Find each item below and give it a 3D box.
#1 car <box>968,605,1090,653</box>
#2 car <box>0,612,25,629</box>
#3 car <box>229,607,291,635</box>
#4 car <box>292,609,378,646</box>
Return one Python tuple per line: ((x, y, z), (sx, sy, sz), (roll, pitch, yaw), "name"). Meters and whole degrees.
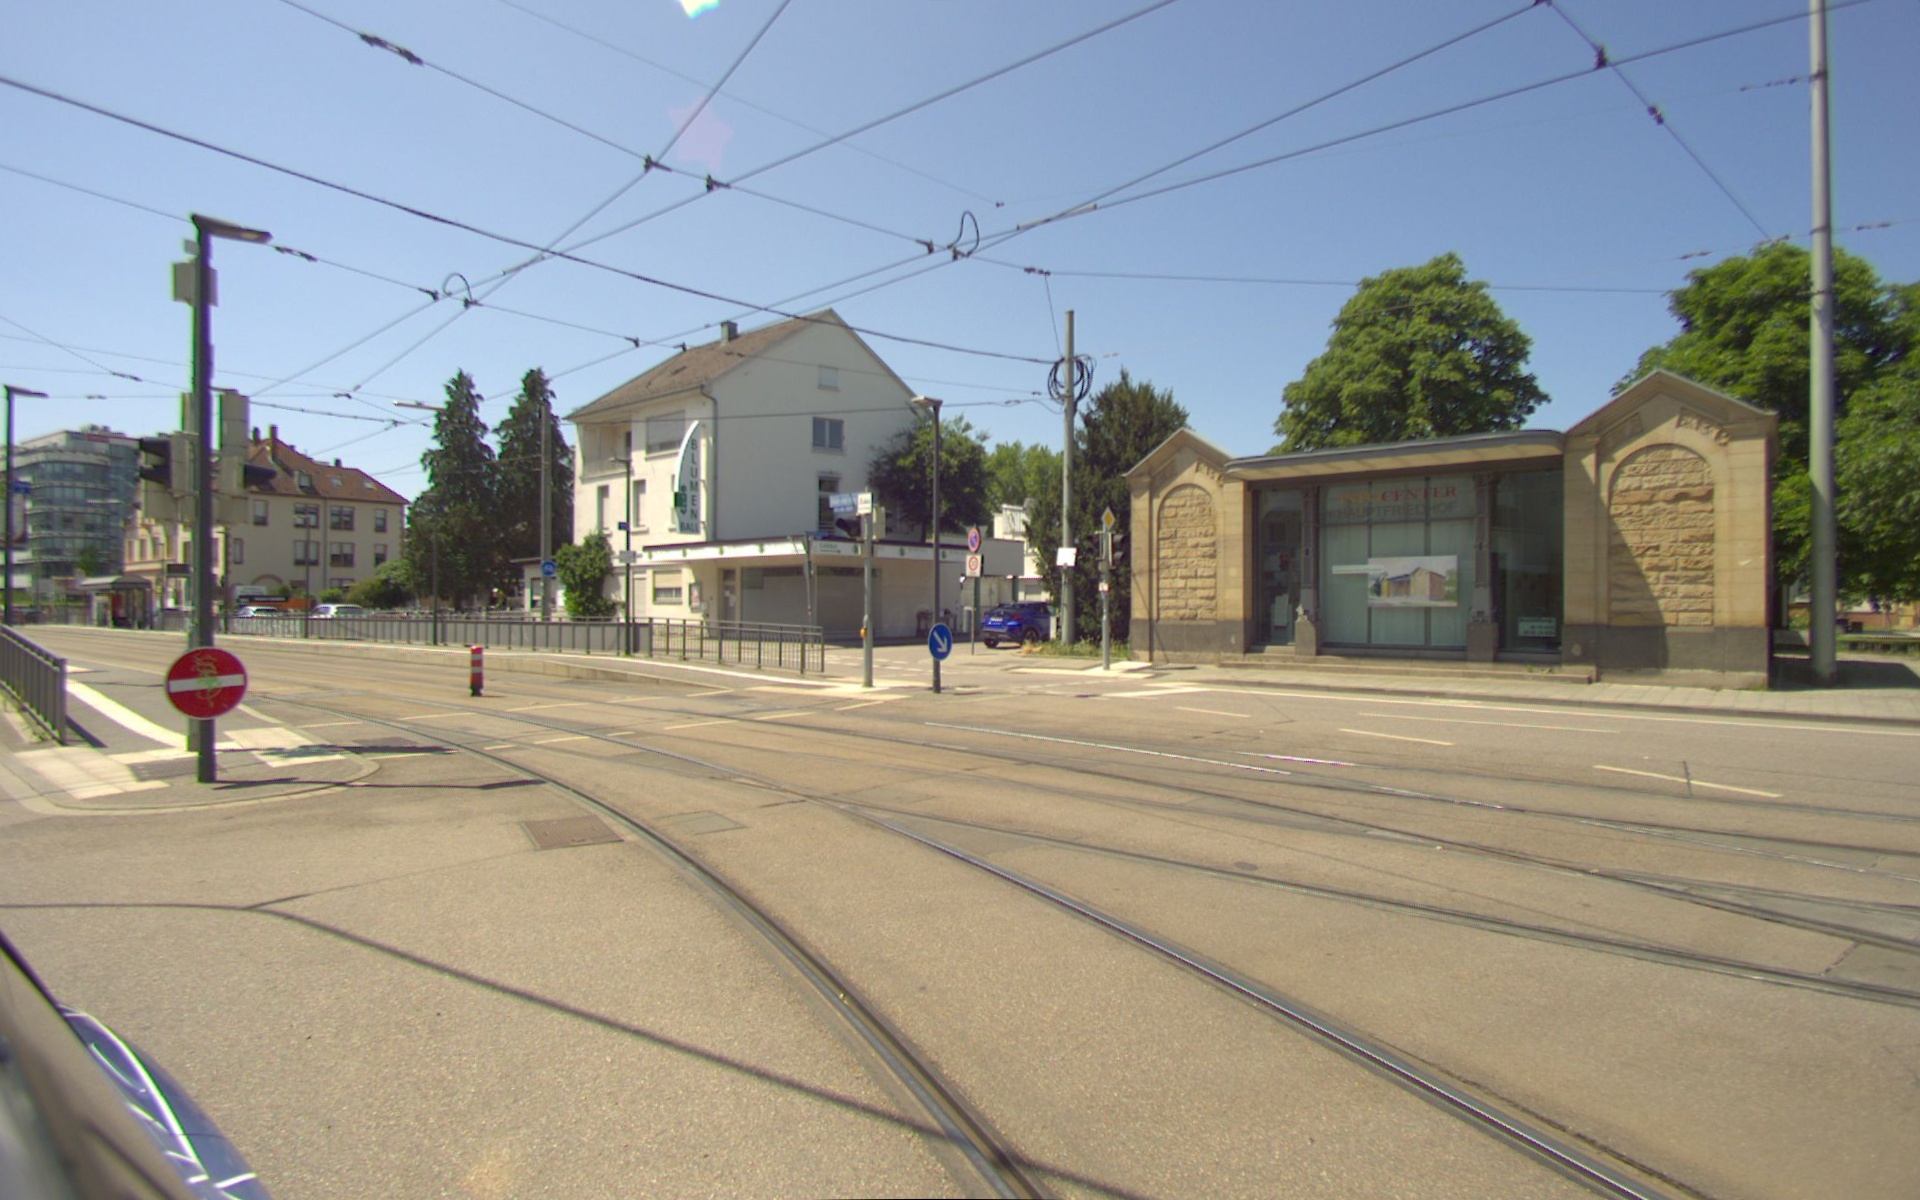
((2.279, 0.892, 32.804), (1.825, 1.463, 3.900), (-1, -1, 45), "car")
((-83.555, 1.765, 88.439), (4.164, 1.406, 1.803), (-1, -1, 34), "car")
((-36.564, 1.078, 52.838), (4.050, 1.373, 1.798), (-1, -1, 42), "car")
((-27.113, 1.165, 43.866), (4.494, 1.501, 1.800), (0, 0, 39), "car")
